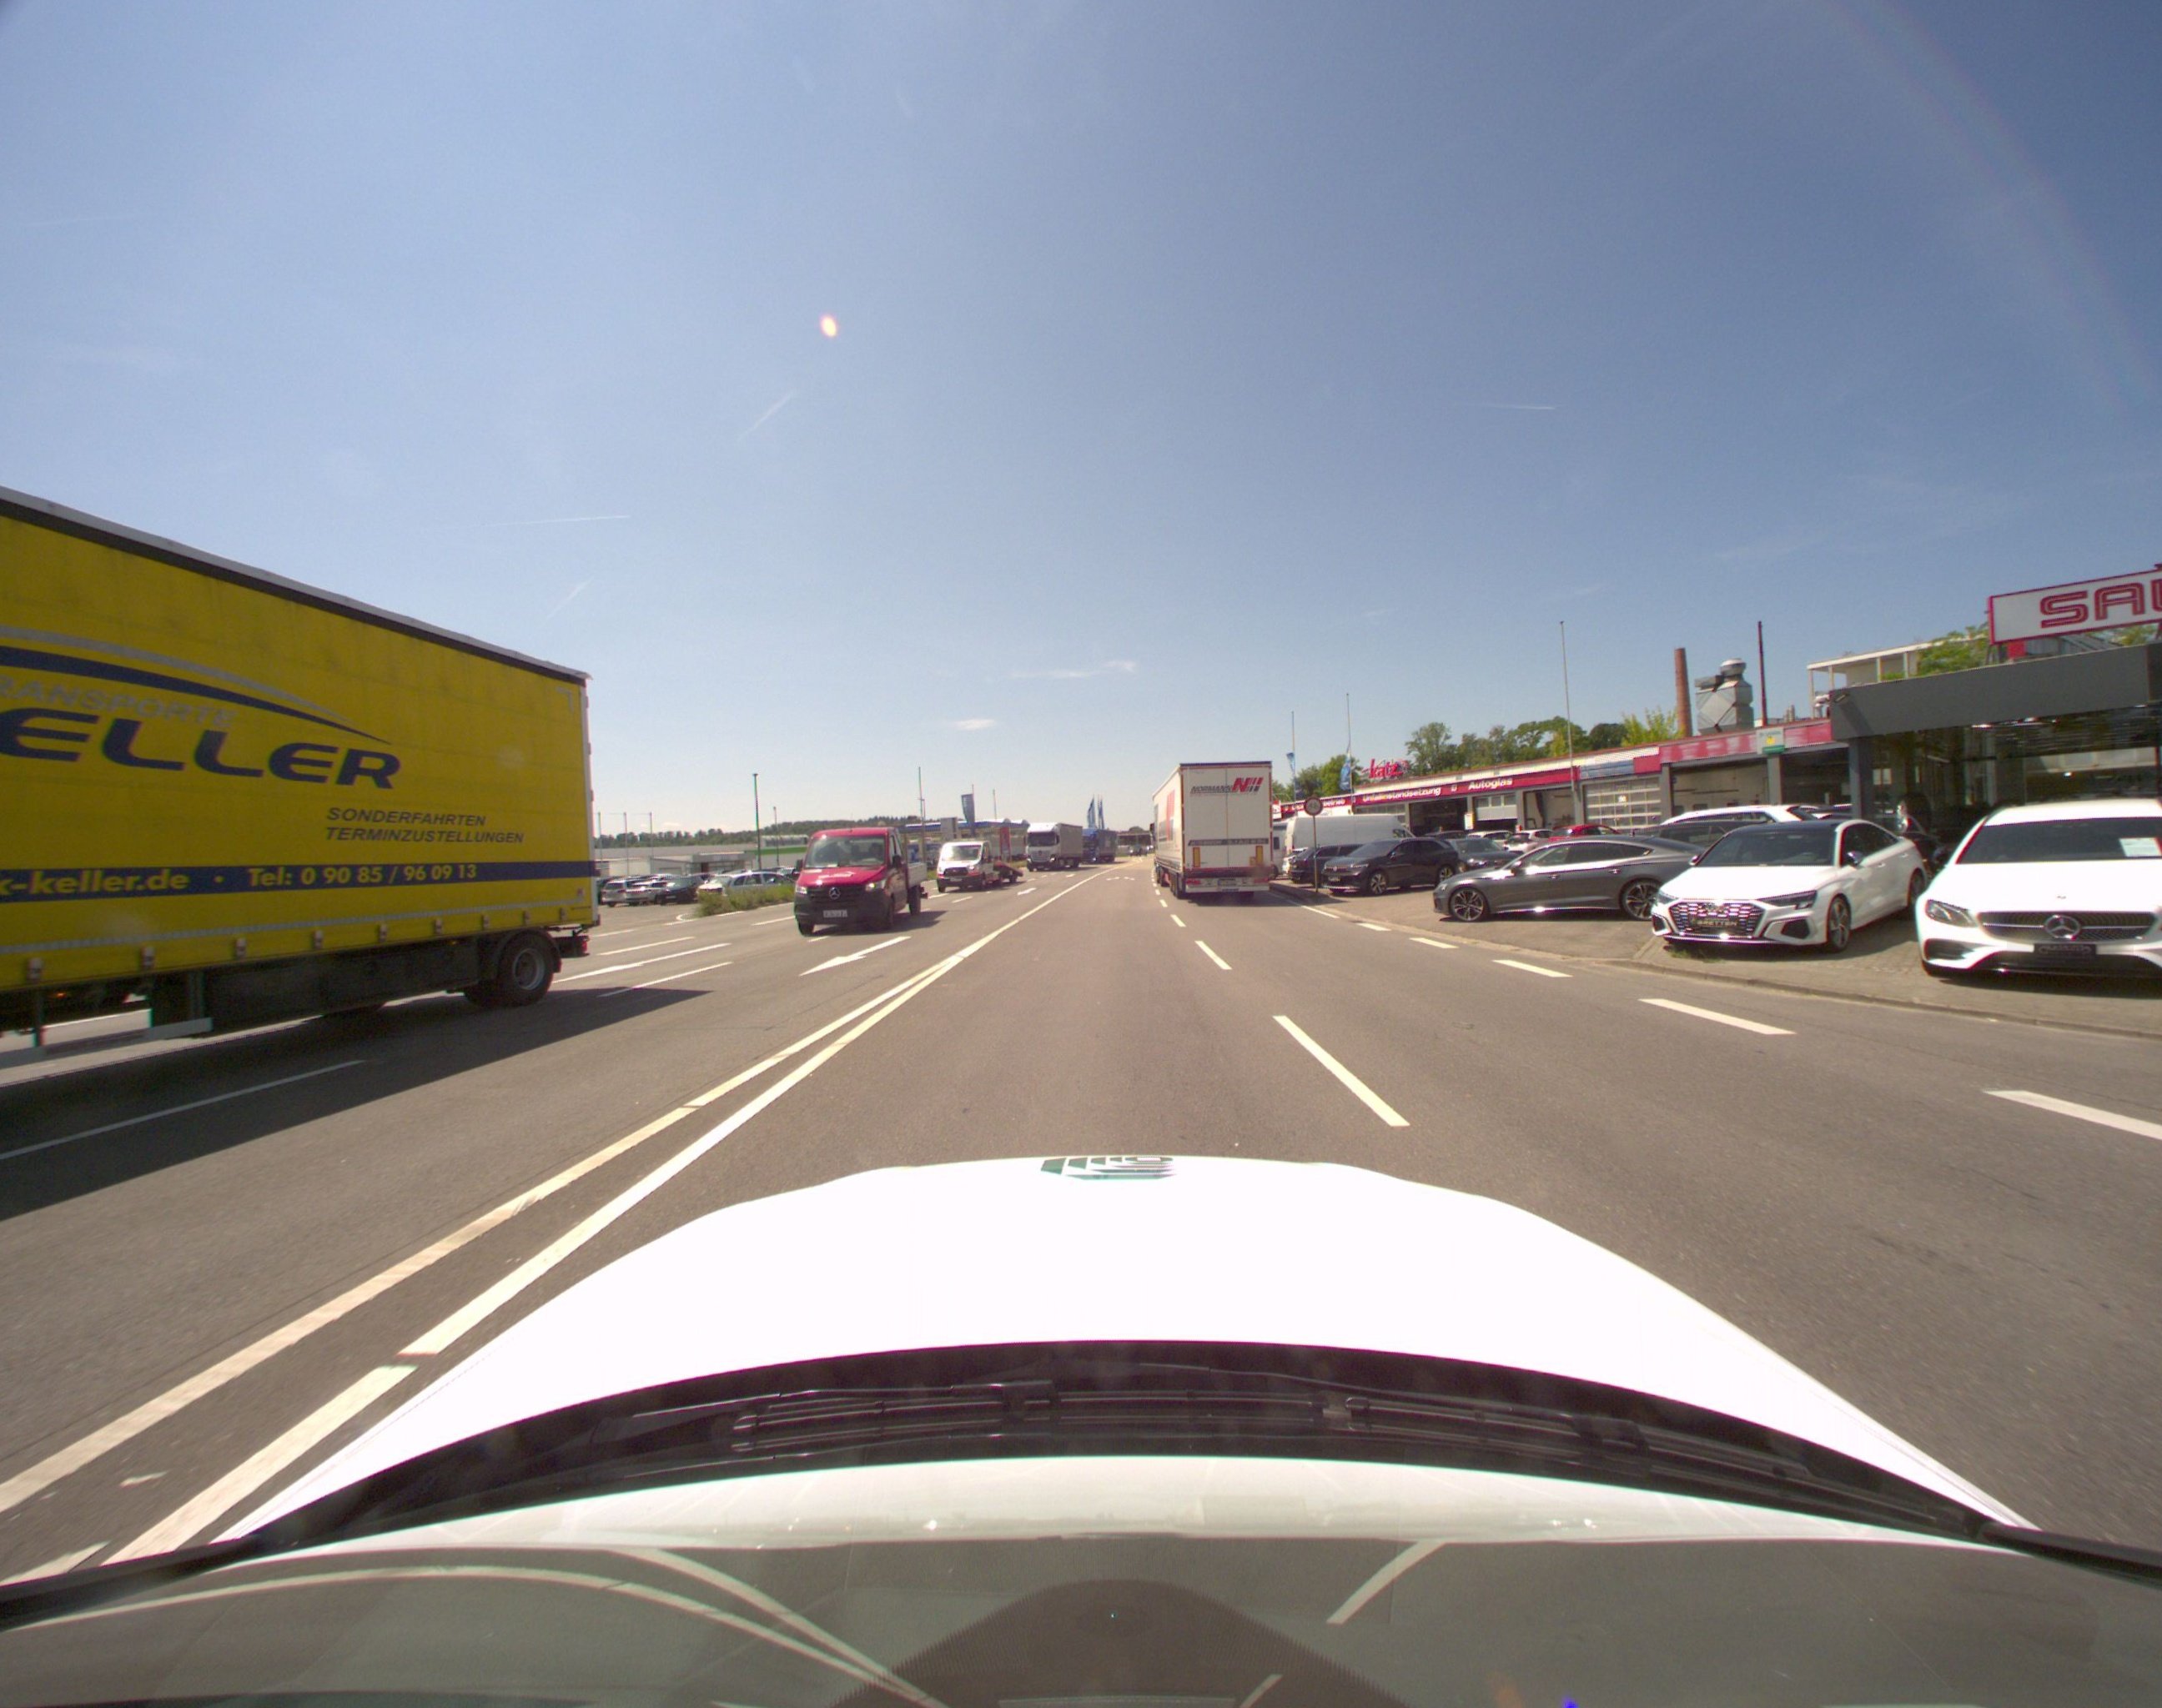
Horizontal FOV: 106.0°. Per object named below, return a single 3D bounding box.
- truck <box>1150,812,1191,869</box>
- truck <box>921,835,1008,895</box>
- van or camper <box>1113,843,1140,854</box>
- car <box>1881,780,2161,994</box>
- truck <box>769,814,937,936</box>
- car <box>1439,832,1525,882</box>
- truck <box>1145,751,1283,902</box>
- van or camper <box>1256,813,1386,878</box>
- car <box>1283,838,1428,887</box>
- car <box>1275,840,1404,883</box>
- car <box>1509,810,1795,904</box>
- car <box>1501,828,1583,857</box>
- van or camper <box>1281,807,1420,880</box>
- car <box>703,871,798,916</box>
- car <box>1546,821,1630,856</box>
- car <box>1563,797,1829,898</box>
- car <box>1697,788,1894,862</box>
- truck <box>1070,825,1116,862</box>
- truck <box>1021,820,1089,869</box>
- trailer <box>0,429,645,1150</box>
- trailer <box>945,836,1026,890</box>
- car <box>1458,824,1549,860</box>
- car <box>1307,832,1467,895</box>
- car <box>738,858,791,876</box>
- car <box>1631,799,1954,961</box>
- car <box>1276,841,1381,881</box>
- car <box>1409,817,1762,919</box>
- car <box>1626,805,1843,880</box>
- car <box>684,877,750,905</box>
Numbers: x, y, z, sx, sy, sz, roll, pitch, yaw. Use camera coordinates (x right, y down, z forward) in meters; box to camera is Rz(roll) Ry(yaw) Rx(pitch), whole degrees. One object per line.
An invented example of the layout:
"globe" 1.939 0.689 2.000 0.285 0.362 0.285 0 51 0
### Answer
"truck" 6.911 -1.013 63.665 2.634 3.806 13.381 -4 0 6
"truck" -5.129 0.439 36.958 2.413 2.340 5.685 -4 0 6
"van or camper" 8.688 -1.055 154.937 4.815 1.905 1.911 -1 0 12
"car" 9.985 0.154 8.232 4.762 1.552 1.977 -6 1 -37
"truck" -5.290 0.442 20.140 2.390 2.444 6.866 -1 0 -2
"car" 14.025 0.063 28.711 1.796 1.528 4.400 -3 0 15
"truck" 4.355 -0.780 31.303 2.962 4.093 17.643 -1 0 2
"van or camper" 11.168 -0.381 38.202 5.449 2.730 2.235 -2 0 5
"car" 9.391 0.272 28.111 4.311 1.499 2.082 -2 0 1
"car" 9.896 0.270 31.421 4.311 1.499 2.082 -2 0 1
"car" 10.895 0.104 15.769 1.864 1.420 4.116 -4 -2 -41
"car" 23.267 -0.578 41.114 3.598 1.374 1.667 -1 0 -19
"van or camper" 11.720 -0.455 35.744 5.343 2.905 2.235 -2 0 5
"car" -15.346 1.795 37.854 3.878 1.750 1.858 -3 0 -28
"car" 24.129 -0.736 38.766 3.605 1.449 1.664 -3 1 -25
"car" 12.876 -0.081 17.256 1.864 1.714 4.098 -4 -2 -41
"car" 21.907 -0.853 25.115 1.977 1.788 4.103 -4 -2 -35
"truck" 1.694 -1.121 96.866 2.827 3.889 17.051 -1 0 10
"truck" -2.040 -0.763 73.077 2.773 3.889 16.527 -1 0 10
"trailer" -7.801 -0.316 5.949 2.998 4.287 10.069 -4 -1 4
"trailer" -4.661 0.400 41.287 2.416 2.338 6.909 -4 0 6
"car" 22.698 -0.646 43.830 3.990 1.574 1.848 -5 0 -12
"car" 9.311 0.261 24.781 4.346 1.624 2.045 -3 0 -24
"car" -28.815 1.179 74.207 4.174 1.309 1.691 -3 0 -13
"car" 9.374 0.233 10.644 4.490 1.409 1.730 -7 2 -29
"car" 10.156 0.276 33.599 3.795 1.499 1.854 -2 0 1
"car" 8.682 0.327 14.442 1.938 1.387 4.875 -4 -2 -41
"car" 16.245 -0.246 20.391 1.742 1.484 3.893 -4 -2 -41
"car" -22.676 2.281 50.916 1.986 1.464 4.461 -1 0 2
